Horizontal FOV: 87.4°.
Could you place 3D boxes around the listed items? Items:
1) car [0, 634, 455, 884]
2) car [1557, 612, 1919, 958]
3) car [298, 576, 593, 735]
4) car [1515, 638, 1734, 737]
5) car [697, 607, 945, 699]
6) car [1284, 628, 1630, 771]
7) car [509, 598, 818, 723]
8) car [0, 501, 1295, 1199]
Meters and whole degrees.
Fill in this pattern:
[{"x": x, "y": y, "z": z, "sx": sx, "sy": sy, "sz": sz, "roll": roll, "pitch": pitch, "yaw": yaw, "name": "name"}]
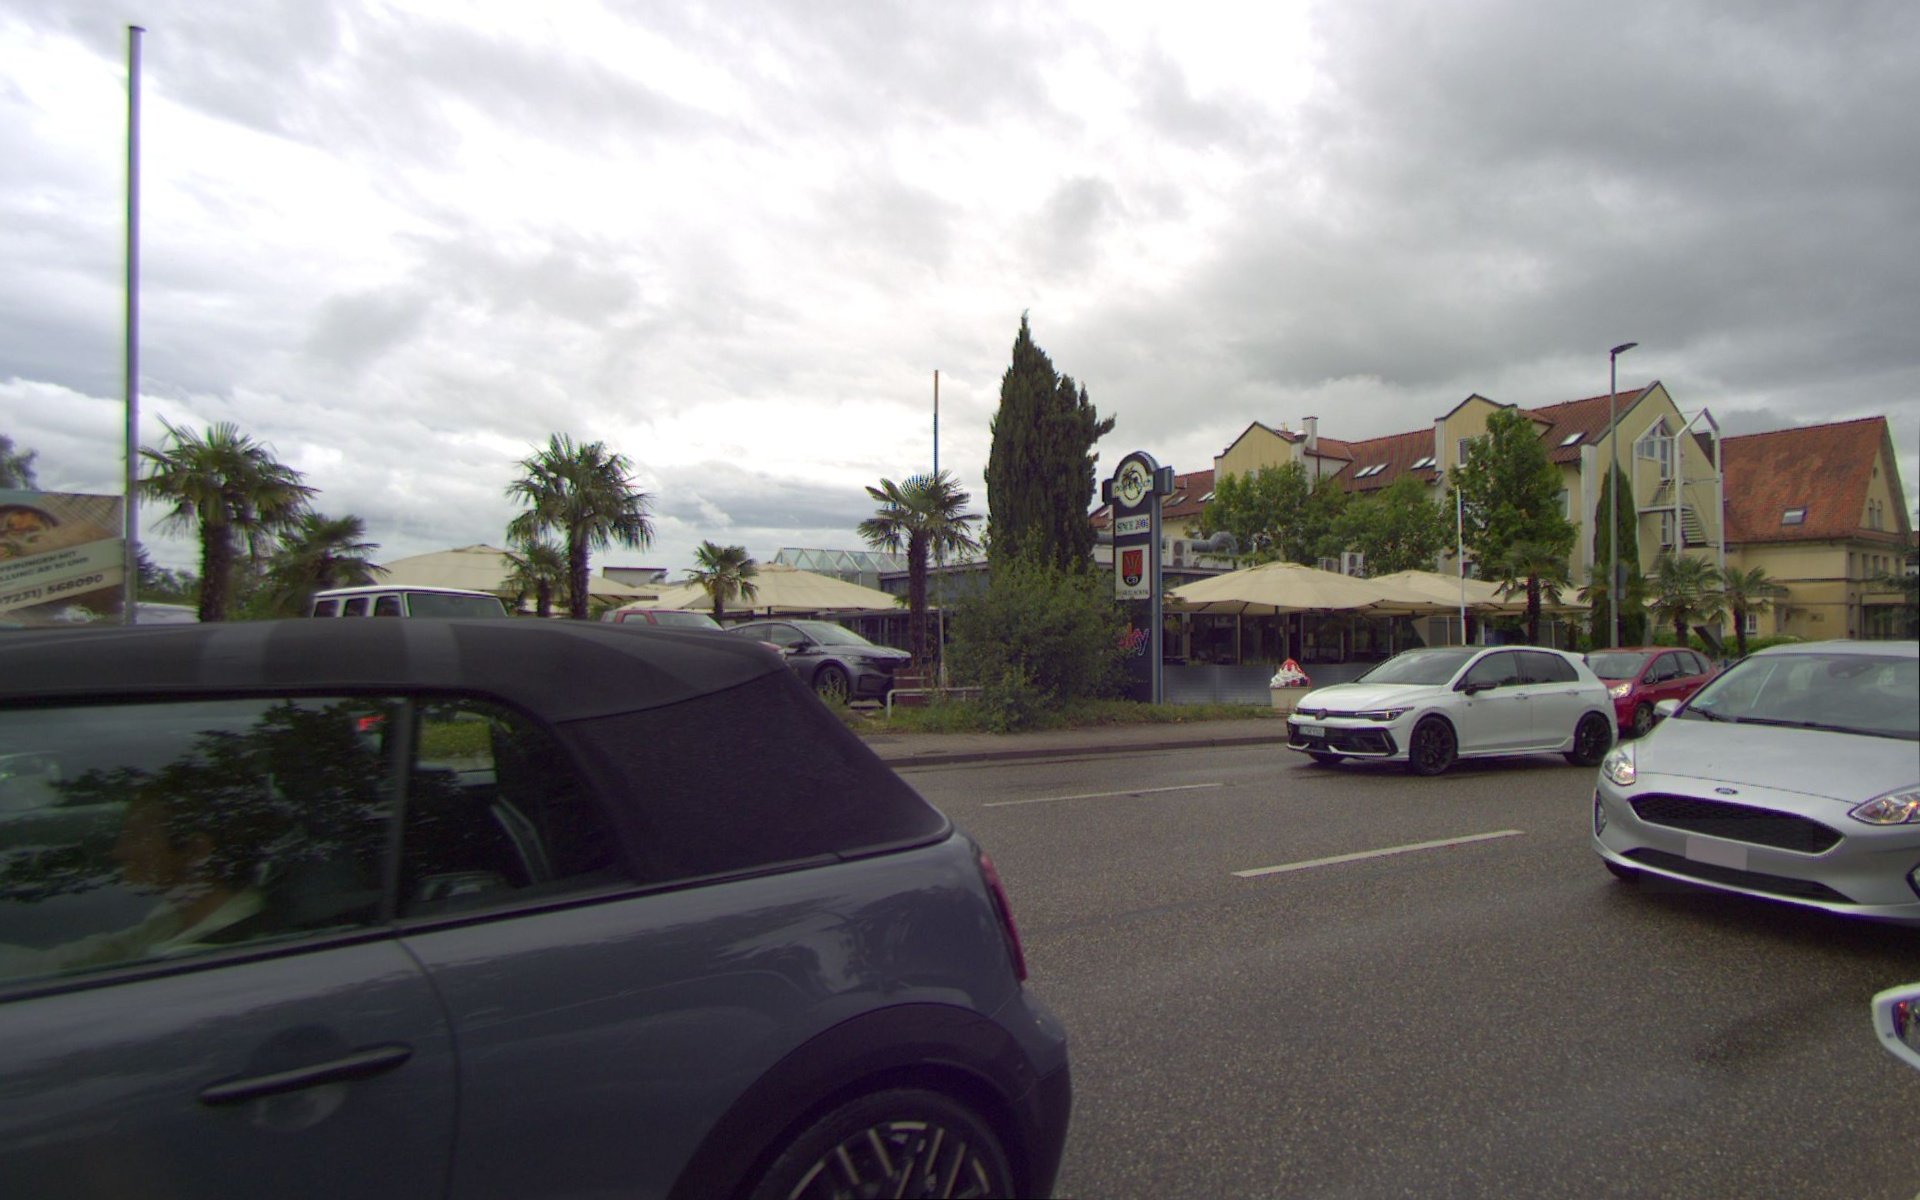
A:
[{"x": -5.771, "y": 0.959, "z": 6.520, "sx": 4.356, "sy": 1.418, "sz": 1.594, "roll": 1, "pitch": -4, "yaw": -32, "name": "car"}, {"x": 5.398, "y": 0.838, "z": 5.894, "sx": 3.903, "sy": 1.460, "sz": 1.594, "roll": 2, "pitch": -1, "yaw": -31, "name": "car"}, {"x": -7.677, "y": 0.842, "z": 14.914, "sx": 4.325, "sy": 2.040, "sz": 1.995, "roll": -3, "pitch": -4, "yaw": 33, "name": "car"}, {"x": 11.661, "y": 1.492, "z": 17.574, "sx": 3.926, "sy": 1.553, "sz": 1.630, "roll": 2, "pitch": -4, "yaw": -31, "name": "car"}, {"x": -2.587, "y": 1.036, "z": 18.303, "sx": 4.298, "sy": 1.482, "sz": 1.994, "roll": -3, "pitch": -6, "yaw": 36, "name": "car"}, {"x": 6.015, "y": 1.123, "z": 12.129, "sx": 3.990, "sy": 1.497, "sz": 1.633, "roll": 2, "pitch": -2, "yaw": -25, "name": "car"}, {"x": -4.816, "y": 1.017, "z": 16.082, "sx": 4.928, "sy": 1.724, "sz": 1.996, "roll": -3, "pitch": -6, "yaw": 33, "name": "car"}, {"x": -1.321, "y": 0.623, "z": 1.947, "sx": 3.903, "sy": 1.460, "sz": 1.594, "roll": 1, "pitch": -1, "yaw": -31, "name": "car"}]
